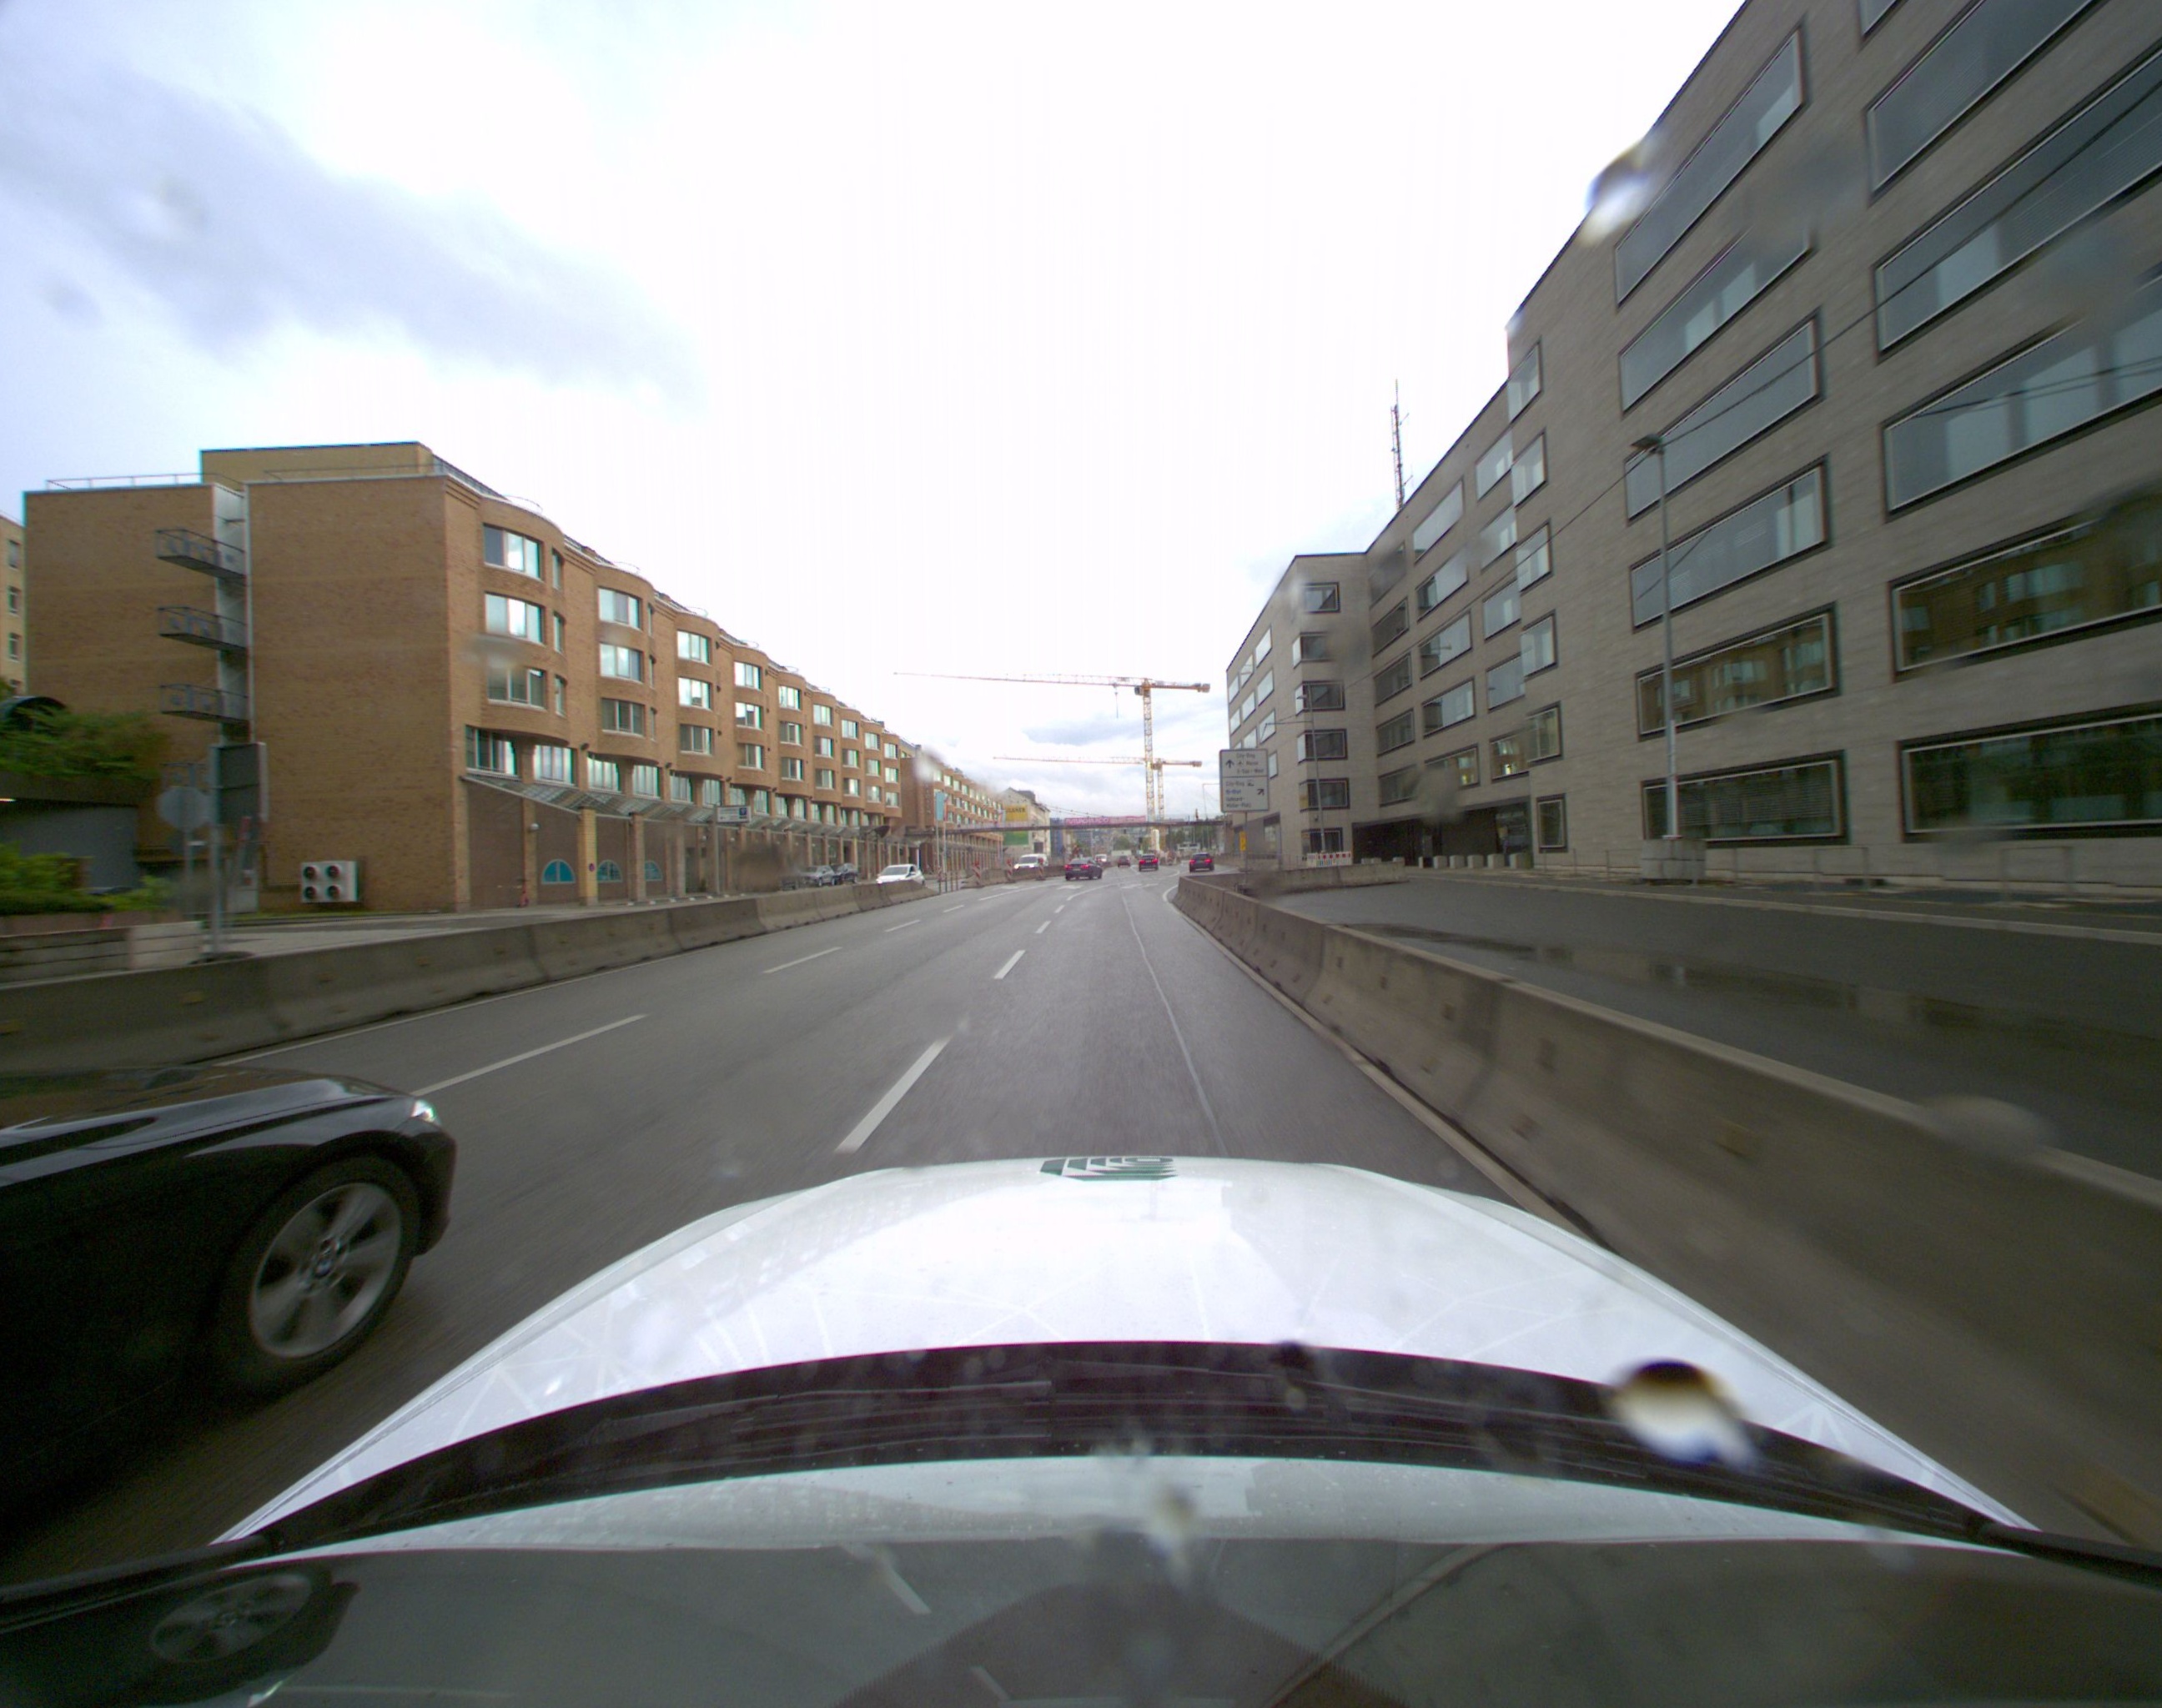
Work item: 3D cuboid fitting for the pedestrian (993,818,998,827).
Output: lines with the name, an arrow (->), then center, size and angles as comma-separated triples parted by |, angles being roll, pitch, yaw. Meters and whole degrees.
pedestrian -> -11.775, -4.394, 112.158 | 0.473, 1.194, 0.485 | -4, 0, 6

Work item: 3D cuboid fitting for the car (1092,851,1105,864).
car -> 2.766, 0.484, 127.216 | 1.986, 1.885, 4.871 | -2, 0, 1

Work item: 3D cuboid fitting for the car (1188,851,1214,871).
car -> 9.535, 0.547, 64.568 | 1.851, 1.433, 4.669 | -2, 0, 10

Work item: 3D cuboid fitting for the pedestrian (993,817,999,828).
pedestrian -> -11.709, -4.319, 112.244 | 0.617, 1.452, 0.619 | -4, 0, 6

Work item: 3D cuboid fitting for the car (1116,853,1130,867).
car -> 5.935, 0.841, 116.227 | 1.856, 1.765, 4.658 | -2, 0, 2

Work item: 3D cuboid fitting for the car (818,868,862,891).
car -> -20.102, 2.081, 68.190 | 1.986, 1.690, 5.052 | -2, 0, 2

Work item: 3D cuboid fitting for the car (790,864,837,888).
car -> -20.519, 1.660, 62.635 | 1.987, 1.594, 4.540 | -2, 0, 0

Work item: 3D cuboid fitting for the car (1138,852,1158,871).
car -> 6.624, 0.714, 80.264 | 1.854, 1.660, 4.661 | -2, 0, 4

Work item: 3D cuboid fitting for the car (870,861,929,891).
car -> -8.669, 1.030, 39.234 | 1.604, 1.231, 3.733 | -2, 0, 6

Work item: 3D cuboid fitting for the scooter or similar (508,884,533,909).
scooter or similar -> -25.007, 1.899, 36.345 | 0.448, 1.063, 1.042 | -2, 0, -9

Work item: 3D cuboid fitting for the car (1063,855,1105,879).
car -> 0.263, 0.843, 54.674 | 1.850, 1.443, 4.672 | -2, 0, 12

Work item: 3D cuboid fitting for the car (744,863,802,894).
car -> -20.812, 1.628, 55.291 | 1.987, 1.886, 5.013 | -2, 0, 0

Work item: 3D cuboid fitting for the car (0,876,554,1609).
car -> -3.112, 0.844, 1.010 | 1.761, 1.443, 4.657 | -2, 0, 1

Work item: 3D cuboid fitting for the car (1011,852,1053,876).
car -> -3.884, 0.769, 65.624 | 1.872, 1.783, 4.896 | -2, 0, 14
